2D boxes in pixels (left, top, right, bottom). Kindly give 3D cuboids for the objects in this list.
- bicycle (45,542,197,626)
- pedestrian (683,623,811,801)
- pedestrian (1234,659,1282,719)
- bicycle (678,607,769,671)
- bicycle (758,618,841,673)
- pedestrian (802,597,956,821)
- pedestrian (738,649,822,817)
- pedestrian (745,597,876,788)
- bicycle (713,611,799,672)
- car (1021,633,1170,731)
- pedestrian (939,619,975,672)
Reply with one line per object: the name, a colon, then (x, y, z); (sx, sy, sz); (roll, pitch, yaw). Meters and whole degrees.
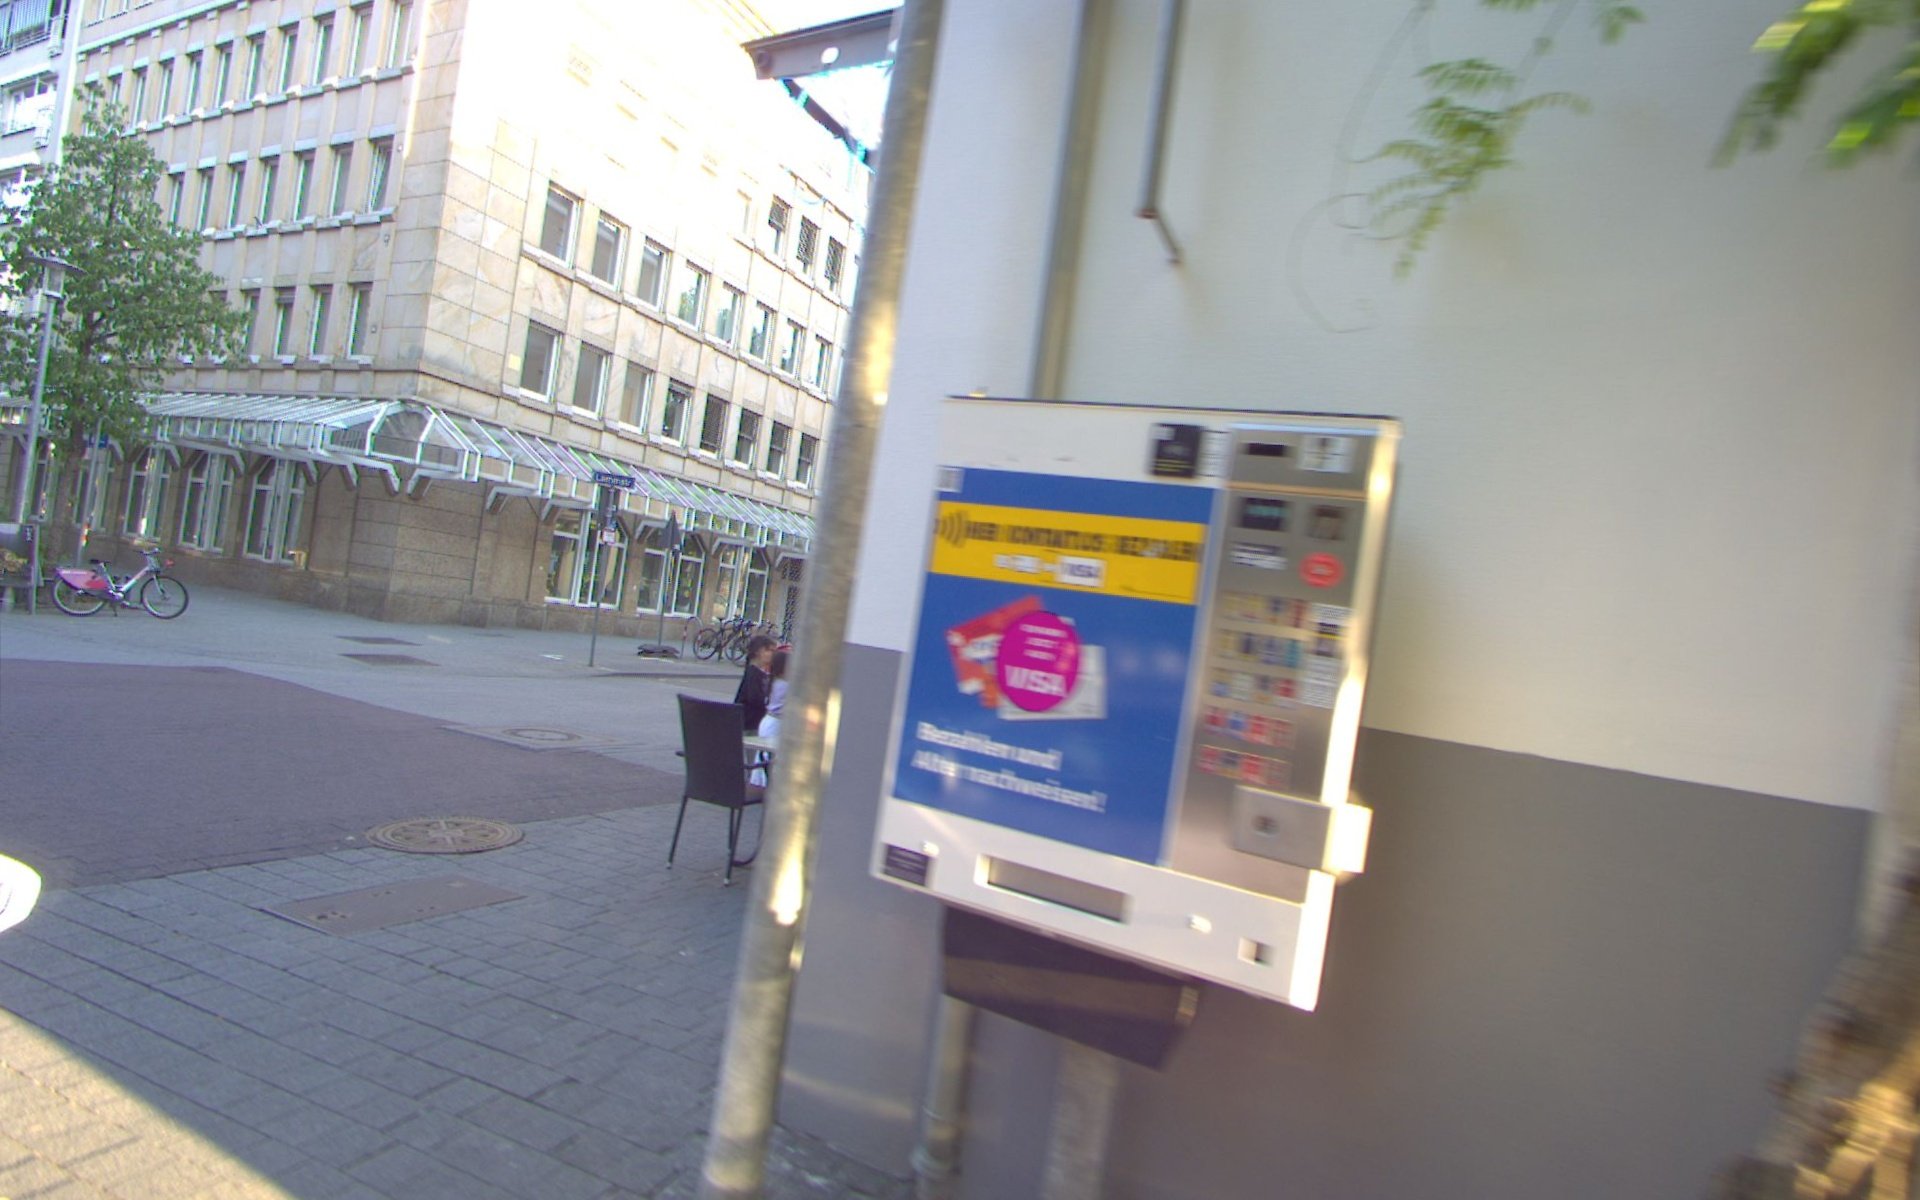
bicycle: (-12.566, -0.226, 15.098); (1.651, 1.064, 0.654); (5, 3, -45)
pedestrian: (-1.650, 0.858, 7.830); (0.506, 1.262, 0.664); (8, 0, 33)
pedestrian: (9.448, 2.824, 31.905); (0.928, 1.724, 0.888); (8, 0, -14)
bicycle: (-5.112, 0.834, 21.723); (1.915, 1.063, 0.544); (9, 0, 28)
bicycle: (-3.846, 1.083, 24.072); (1.914, 1.040, 0.513); (8, 0, 26)
pedestrian: (-0.621, 0.818, 7.741); (0.782, 1.554, 0.619); (8, 0, 38)
pedestrian: (-1.325, 0.963, 7.381); (0.404, 1.138, 0.471); (8, 0, -18)
pedestrian: (-1.327, 0.817, 9.036); (0.704, 1.549, 0.724); (8, 0, 22)
bicycle: (-4.642, 0.931, 22.868); (1.916, 1.063, 0.543); (9, 0, 30)
car: (2.942, 1.713, 21.048); (1.773, 1.608, 3.938); (7, -1, 26)
pedestrian: (-0.112, 1.636, 35.844); (0.759, 1.752, 0.914); (7, 0, 27)
